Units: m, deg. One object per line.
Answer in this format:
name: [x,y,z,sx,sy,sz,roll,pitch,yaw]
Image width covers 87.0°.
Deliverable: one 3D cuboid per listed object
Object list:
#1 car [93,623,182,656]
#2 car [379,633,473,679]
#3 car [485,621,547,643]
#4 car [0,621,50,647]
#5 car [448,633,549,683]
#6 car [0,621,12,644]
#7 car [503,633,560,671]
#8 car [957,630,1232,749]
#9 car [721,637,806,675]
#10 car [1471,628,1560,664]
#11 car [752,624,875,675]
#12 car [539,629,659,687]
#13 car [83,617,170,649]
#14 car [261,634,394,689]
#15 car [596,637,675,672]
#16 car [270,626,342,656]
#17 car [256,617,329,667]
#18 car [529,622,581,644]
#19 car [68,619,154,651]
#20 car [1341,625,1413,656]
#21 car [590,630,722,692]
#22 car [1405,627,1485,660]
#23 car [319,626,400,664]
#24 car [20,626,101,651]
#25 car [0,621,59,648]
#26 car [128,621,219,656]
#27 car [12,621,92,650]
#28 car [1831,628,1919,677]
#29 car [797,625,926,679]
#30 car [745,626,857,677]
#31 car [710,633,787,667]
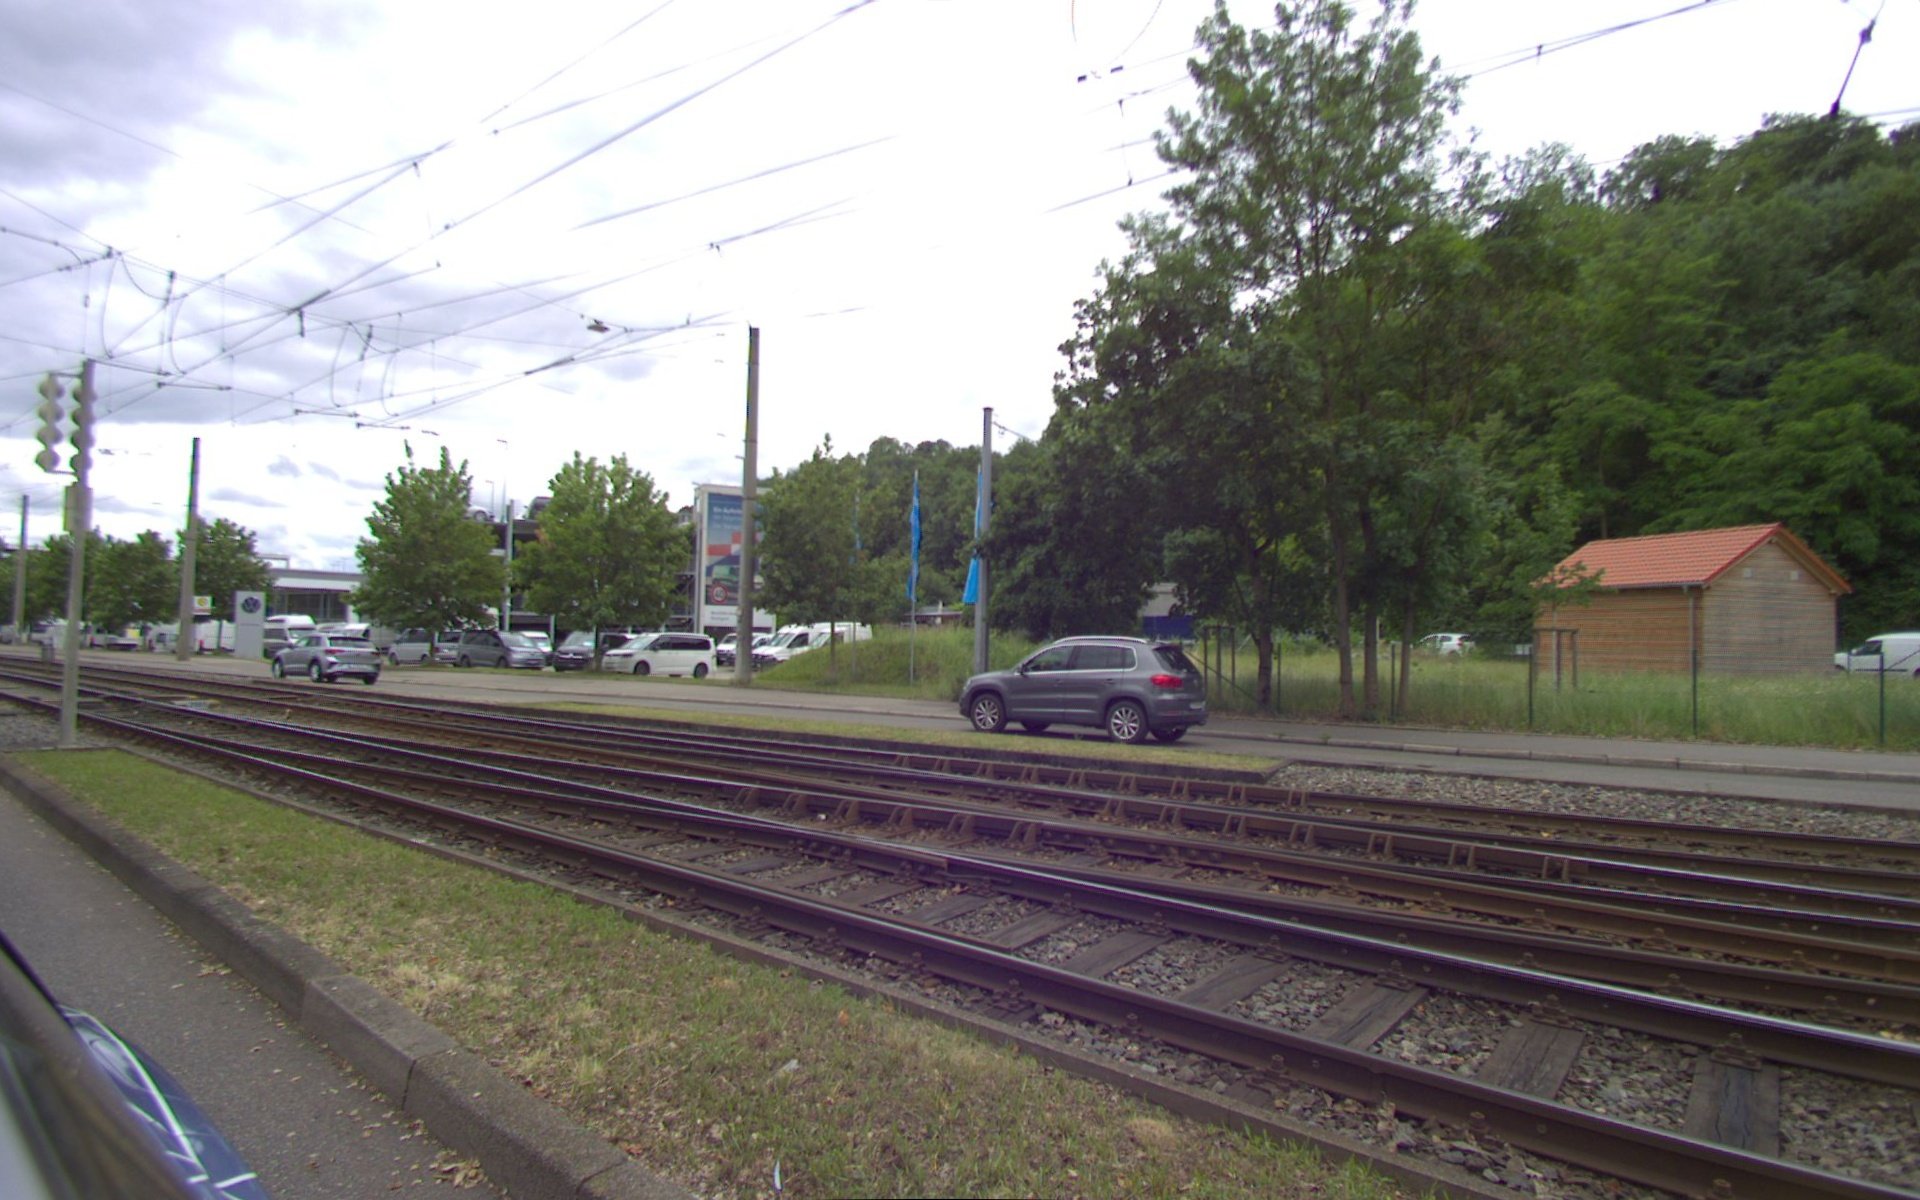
car: [-59.504,2.814,73.277,2.102,2.225,4.589,-1,0,32]
car: [-27.049,2.765,51.193,4.761,2.132,2.119,-1,0,32]
car: [-41.818,2.975,95.368,5.138,1.850,1.986,-1,0,-29]
car: [-85.629,3.070,91.498,2.102,2.225,4.589,-1,0,32]
car: [-21.802,2.691,47.756,4.763,2.132,2.118,-1,0,34]
car: [-94.085,3.180,96.837,2.102,2.225,4.589,-1,0,32]
car: [-24.516,2.929,57.802,1.872,1.907,4.606,-1,0,-38]
car: [2.182,1.430,16.783,4.126,1.731,1.884,-2,-5,35]
car: [-10.918,3.064,56.247,4.165,1.850,1.986,-1,0,-31]
car: [28.180,2.305,51.428,1.727,1.625,3.693,-1,0,-22]
car: [-7.371,2.451,51.063,5.751,2.284,2.060,-1,0,-28]
car: [-15.998,2.495,45.042,1.977,2.284,4.717,-1,0,37]
car: [-61.486,2.388,74.725,2.102,2.225,4.589,-1,0,32]
car: [-19.956,1.904,31.902,4.165,1.590,1.977,-1,-3,33]
car: [-19.428,3.209,60.607,4.165,1.850,1.986,-1,0,-31]
car: [-53.666,3.317,83.109,2.107,2.225,4.579,-1,0,39]
car: [-43.182,2.658,65.400,6.154,3.034,2.291,-1,0,40]
car: [-36.852,2.960,92.110,4.164,1.850,1.986,-1,0,-29]
car: [-63.864,2.617,76.208,2.102,2.225,4.589,-1,0,32]
car: [24.472,2.352,59.454,1.727,1.625,3.693,-1,0,-25]
car: [-12.839,2.524,43.099,1.997,2.284,5.206,-1,0,37]
car: [26.485,2.326,55.383,1.727,1.625,3.693,-1,0,-25]
car: [-46.479,3.432,78.507,2.293,2.642,6.036,-1,0,6]
car: [-73.592,3.101,82.835,2.102,1.854,4.589,-1,0,32]
car: [-83.606,3.044,90.124,2.102,2.225,4.589,-1,0,32]
car: [-54.962,2.673,70.787,2.102,2.225,4.589,-1,0,32]
car: [-75.556,2.941,84.239,2.102,2.225,4.589,-1,0,32]
car: [34.185,1.872,36.527,1.877,1.625,3.693,-1,0,-22]
car: [-4.698,2.417,48.357,5.762,2.284,2.060,-1,0,-28]
car: [-8.521,2.718,54.357,5.568,2.479,1.986,-1,0,-31]
car: [-12.983,3.052,62.209,4.165,1.850,1.986,-1,0,-31]
